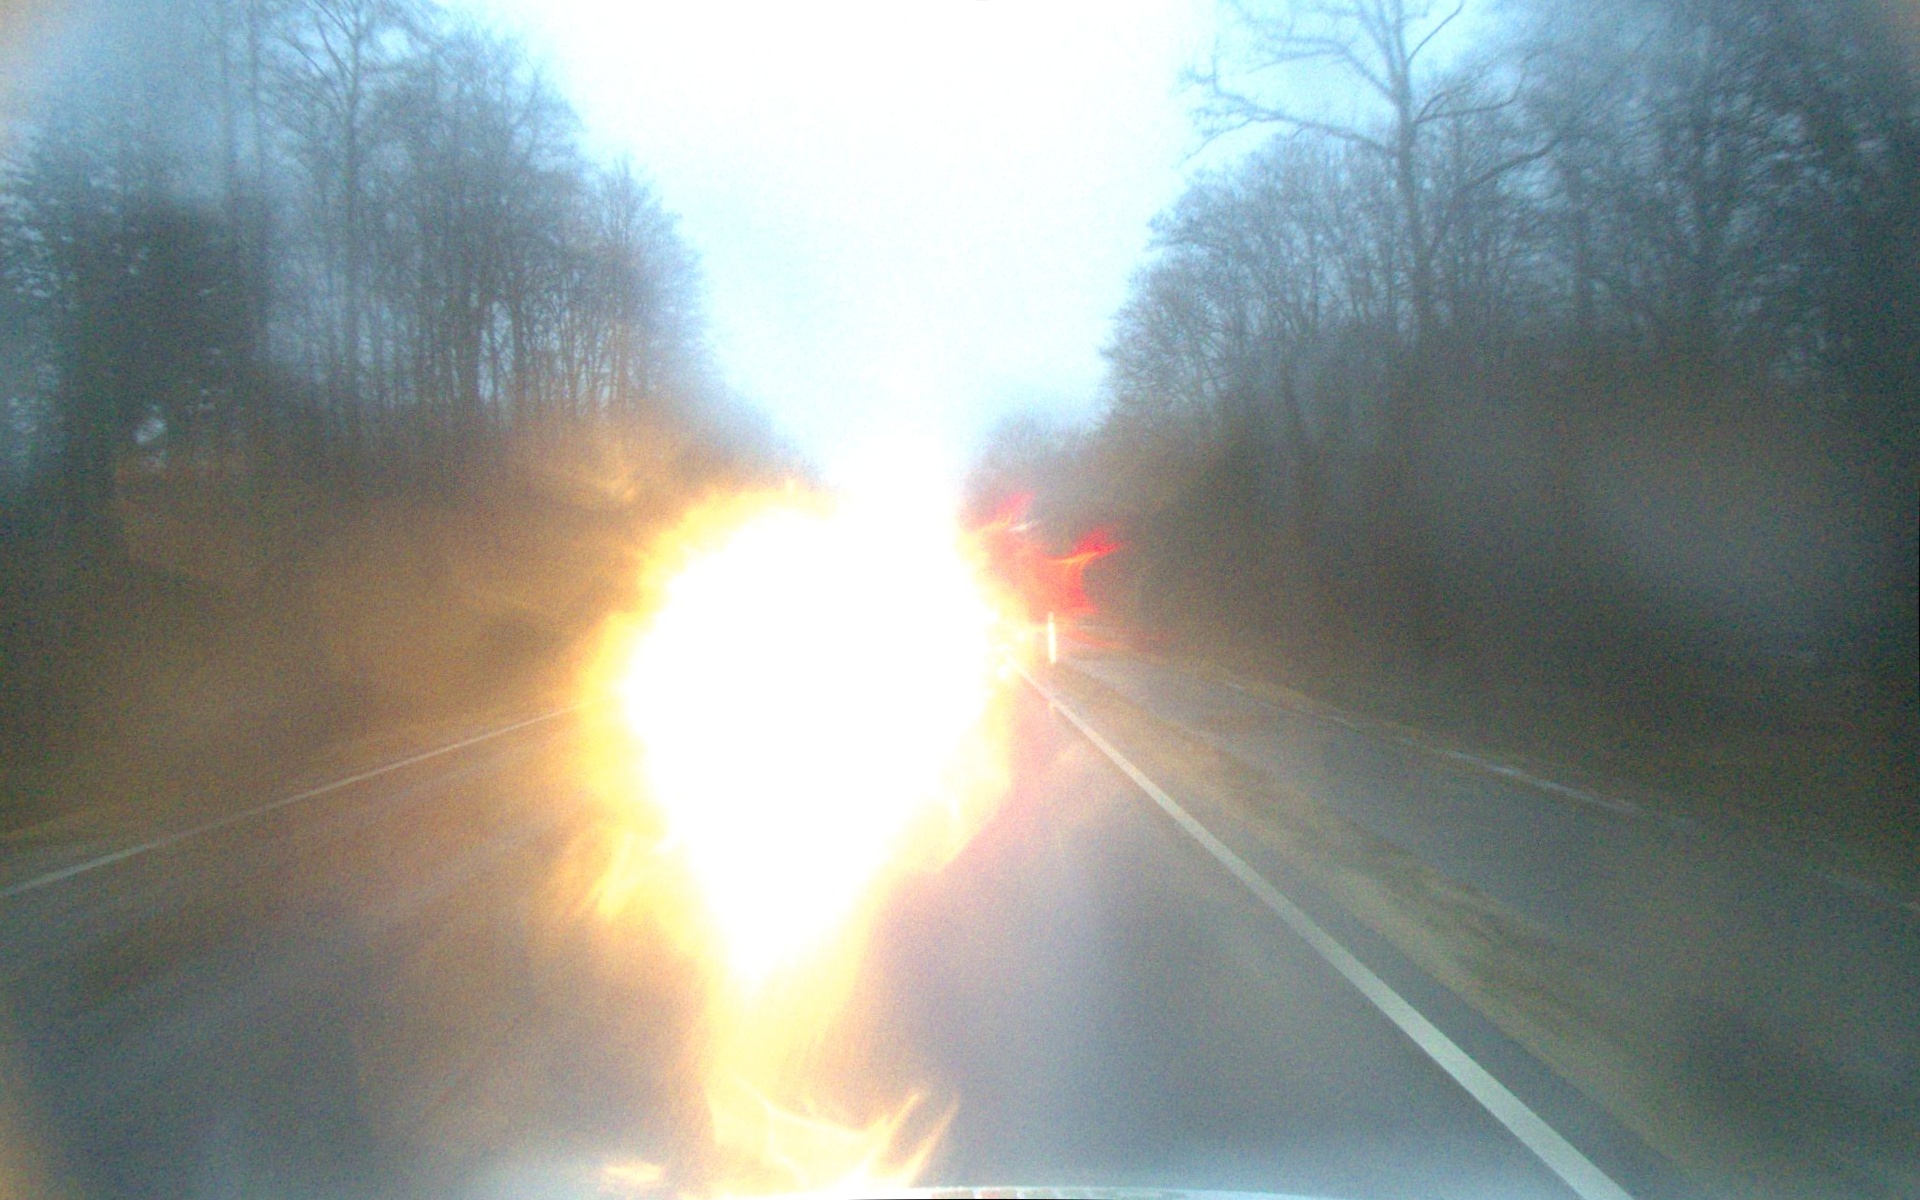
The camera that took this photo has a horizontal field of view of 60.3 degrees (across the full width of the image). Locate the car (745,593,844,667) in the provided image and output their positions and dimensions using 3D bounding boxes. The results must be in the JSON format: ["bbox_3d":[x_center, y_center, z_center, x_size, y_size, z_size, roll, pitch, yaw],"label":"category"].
[{"bbox_3d":[-3.610,0.627,36.615,1.762,1.487,4.176,-2,0,-1],"label":"car"}]

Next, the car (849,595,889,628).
[{"bbox_3d":[-4.513,0.552,82.781,1.729,1.483,4.507,-4,0,-1],"label":"car"}]
